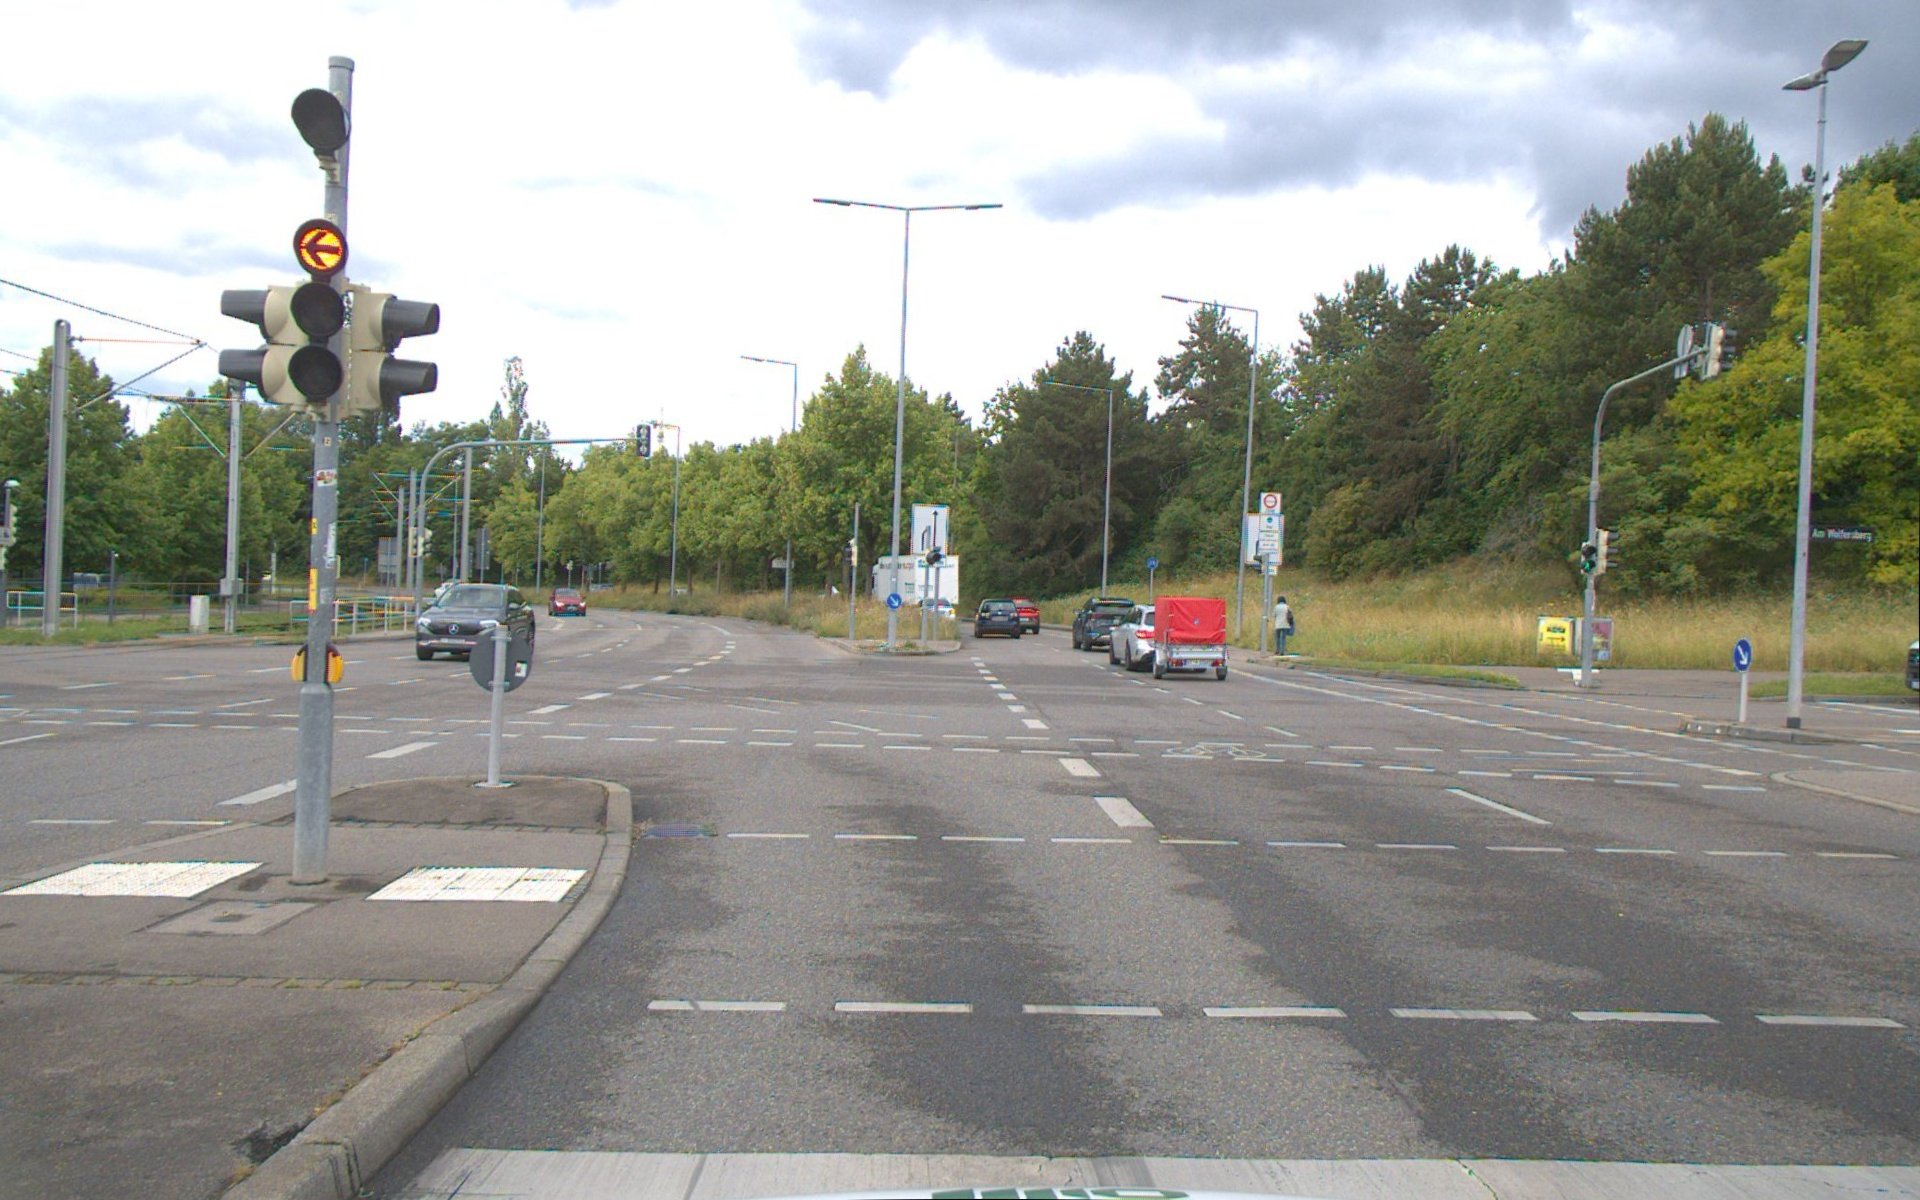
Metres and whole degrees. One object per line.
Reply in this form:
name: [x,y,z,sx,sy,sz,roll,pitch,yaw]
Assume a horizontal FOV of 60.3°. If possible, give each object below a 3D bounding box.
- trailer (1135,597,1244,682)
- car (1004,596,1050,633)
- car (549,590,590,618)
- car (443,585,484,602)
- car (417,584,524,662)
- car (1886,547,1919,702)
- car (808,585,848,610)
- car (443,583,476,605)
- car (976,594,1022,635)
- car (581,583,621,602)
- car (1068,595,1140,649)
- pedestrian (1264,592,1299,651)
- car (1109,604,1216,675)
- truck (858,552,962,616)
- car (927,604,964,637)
trailer: [4.686,0.775,34.128,1.729,1.644,3.043,1,0,-2]
car: [2.979,0.621,74.195,1.742,1.573,4.023,0,0,-3]
car: [-21.228,0.184,89.762,1.754,1.468,4.401,0,0,-19]
car: [-47.846,-0.657,159.372,3.945,1.573,1.777,1,0,37]
car: [-10.554,0.456,35.898,1.746,1.573,4.215,1,0,-10]
car: [20.333,0.467,30.091,5.772,2.830,2.135,0,0,-1]
car: [-8.753,-0.202,109.436,1.751,1.573,4.002,1,0,-19]
car: [-38.677,-0.444,127.720,1.806,1.657,4.389,0,0,-26]
car: [1.584,0.560,66.596,1.741,1.573,4.026,1,0,2]
car: [-31.156,-0.627,143.432,1.767,1.573,3.966,1,1,-40]
car: [4.456,0.649,51.584,1.742,1.573,4.023,1,0,-2]
pedestrian: [9.176,0.606,47.211,0.797,1.656,0.790,1,0,-1]
car: [4.555,0.854,37.868,1.742,1.446,4.457,1,0,-2]
truck: [-3.017,-0.935,95.020,2.698,3.387,11.344,1,0,-19]
car: [-0.733,1.024,83.339,1.742,1.573,4.023,1,0,-2]
